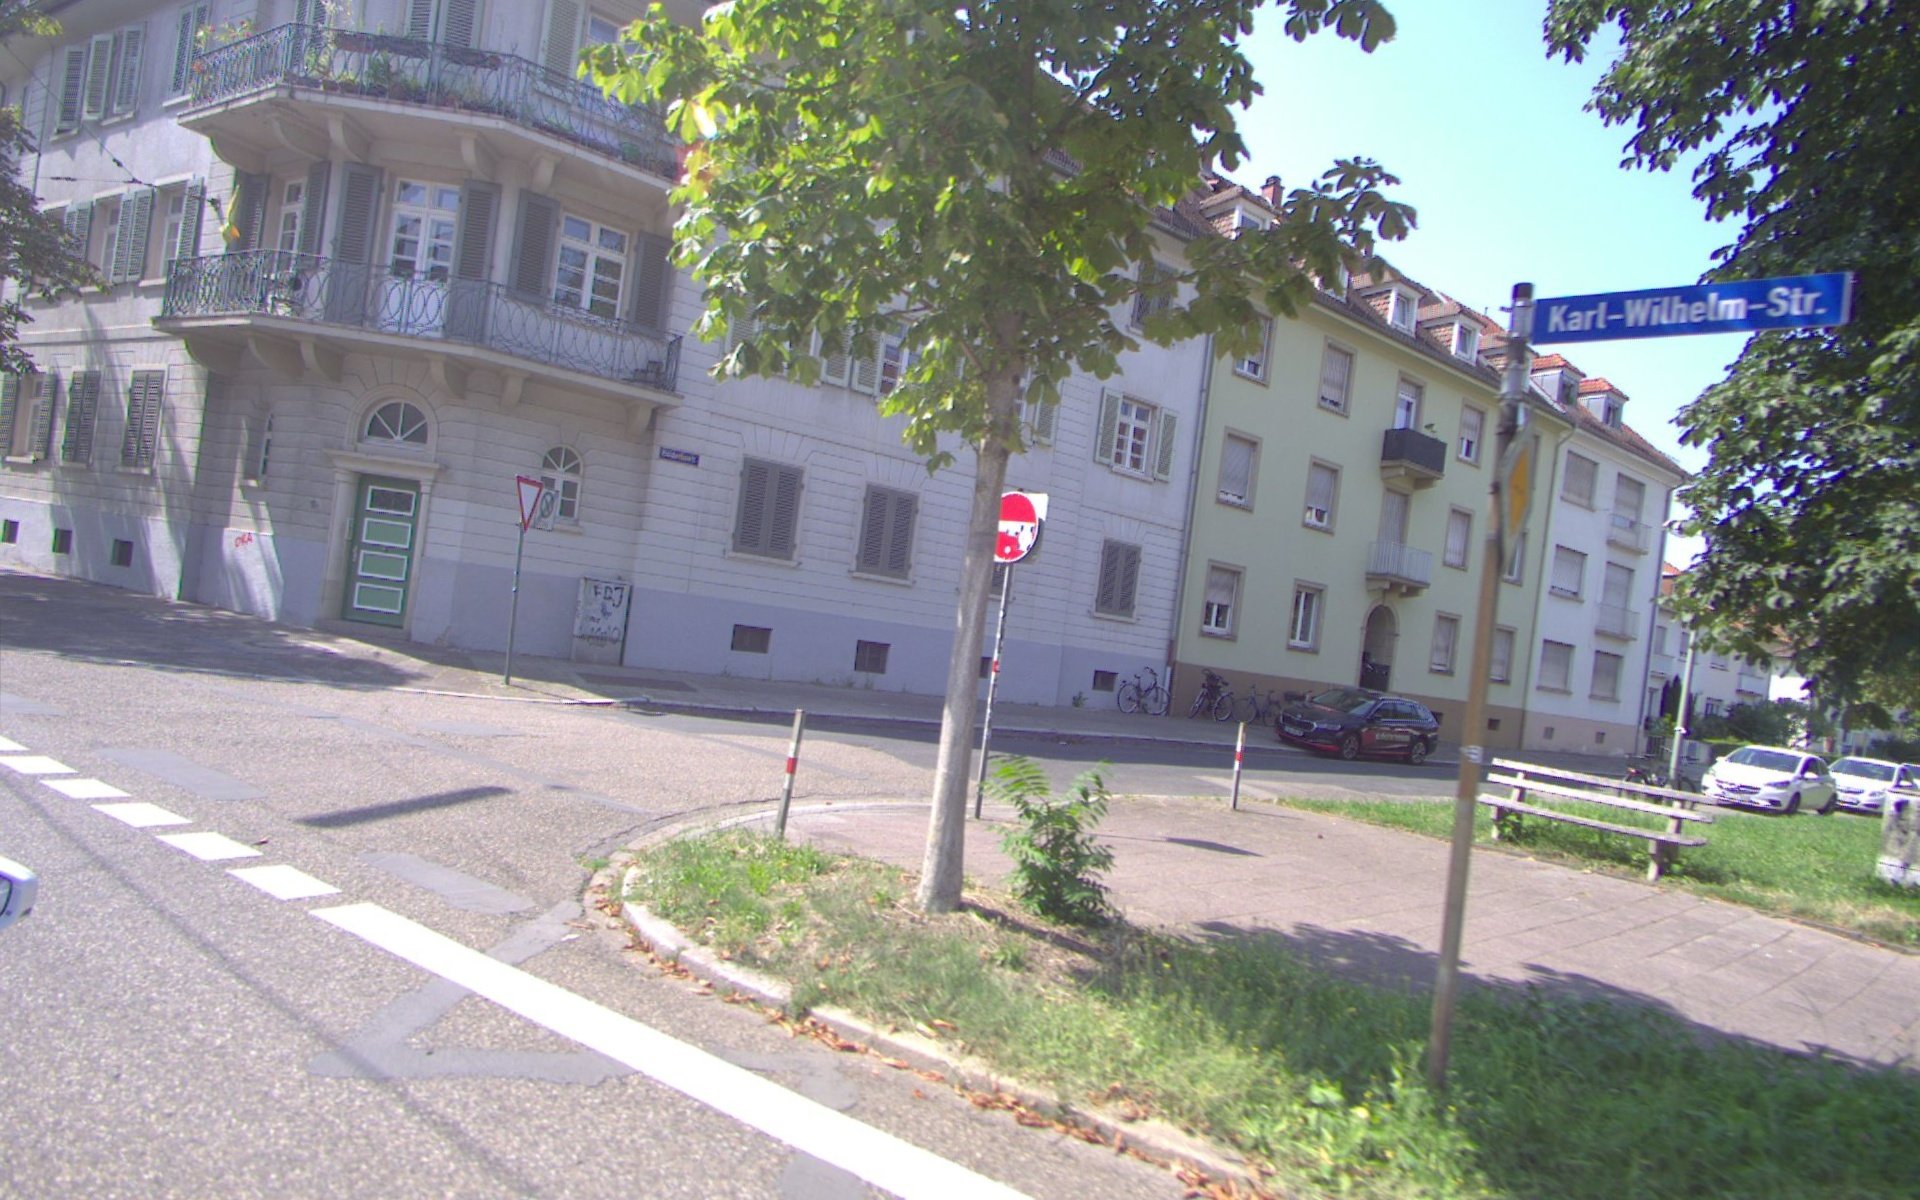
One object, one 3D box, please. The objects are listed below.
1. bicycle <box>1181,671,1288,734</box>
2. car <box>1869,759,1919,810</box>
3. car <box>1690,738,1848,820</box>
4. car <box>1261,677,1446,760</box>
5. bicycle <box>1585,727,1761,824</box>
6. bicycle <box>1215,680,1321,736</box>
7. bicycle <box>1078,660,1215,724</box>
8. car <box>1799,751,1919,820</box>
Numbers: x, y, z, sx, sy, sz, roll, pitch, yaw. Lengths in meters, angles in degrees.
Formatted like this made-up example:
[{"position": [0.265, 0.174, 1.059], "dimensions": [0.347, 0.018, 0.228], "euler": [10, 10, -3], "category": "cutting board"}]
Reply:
[{"position": [6.583, 2.440, 24.229], "dimensions": [1.005, 1.131, 2.252], "euler": [10, -2, -35], "category": "bicycle"}, {"position": [29.570, 5.749, 30.736], "dimensions": [3.851, 1.293, 1.686], "euler": [9, -3, -33], "category": "car"}, {"position": [18.812, 4.164, 23.349], "dimensions": [3.938, 1.454, 1.625], "euler": [9, -3, -33], "category": "car"}, {"position": [9.035, 2.725, 22.987], "dimensions": [4.243, 1.398, 1.668], "euler": [9, -3, -33], "category": "car"}, {"position": [11.087, 2.740, 15.586], "dimensions": [3.188, 1.125, 1.152], "euler": [10, -2, -35], "category": "bicycle"}, {"position": [7.907, 2.771, 25.758], "dimensions": [2.759, 1.040, 1.151], "euler": [11, -3, -38], "category": "bicycle"}, {"position": [4.356, 2.148, 23.295], "dimensions": [3.188, 1.040, 1.152], "euler": [10, -3, -35], "category": "bicycle"}, {"position": [24.544, 5.042, 27.297], "dimensions": [3.748, 1.446, 1.625], "euler": [9, -3, -33], "category": "car"}]
